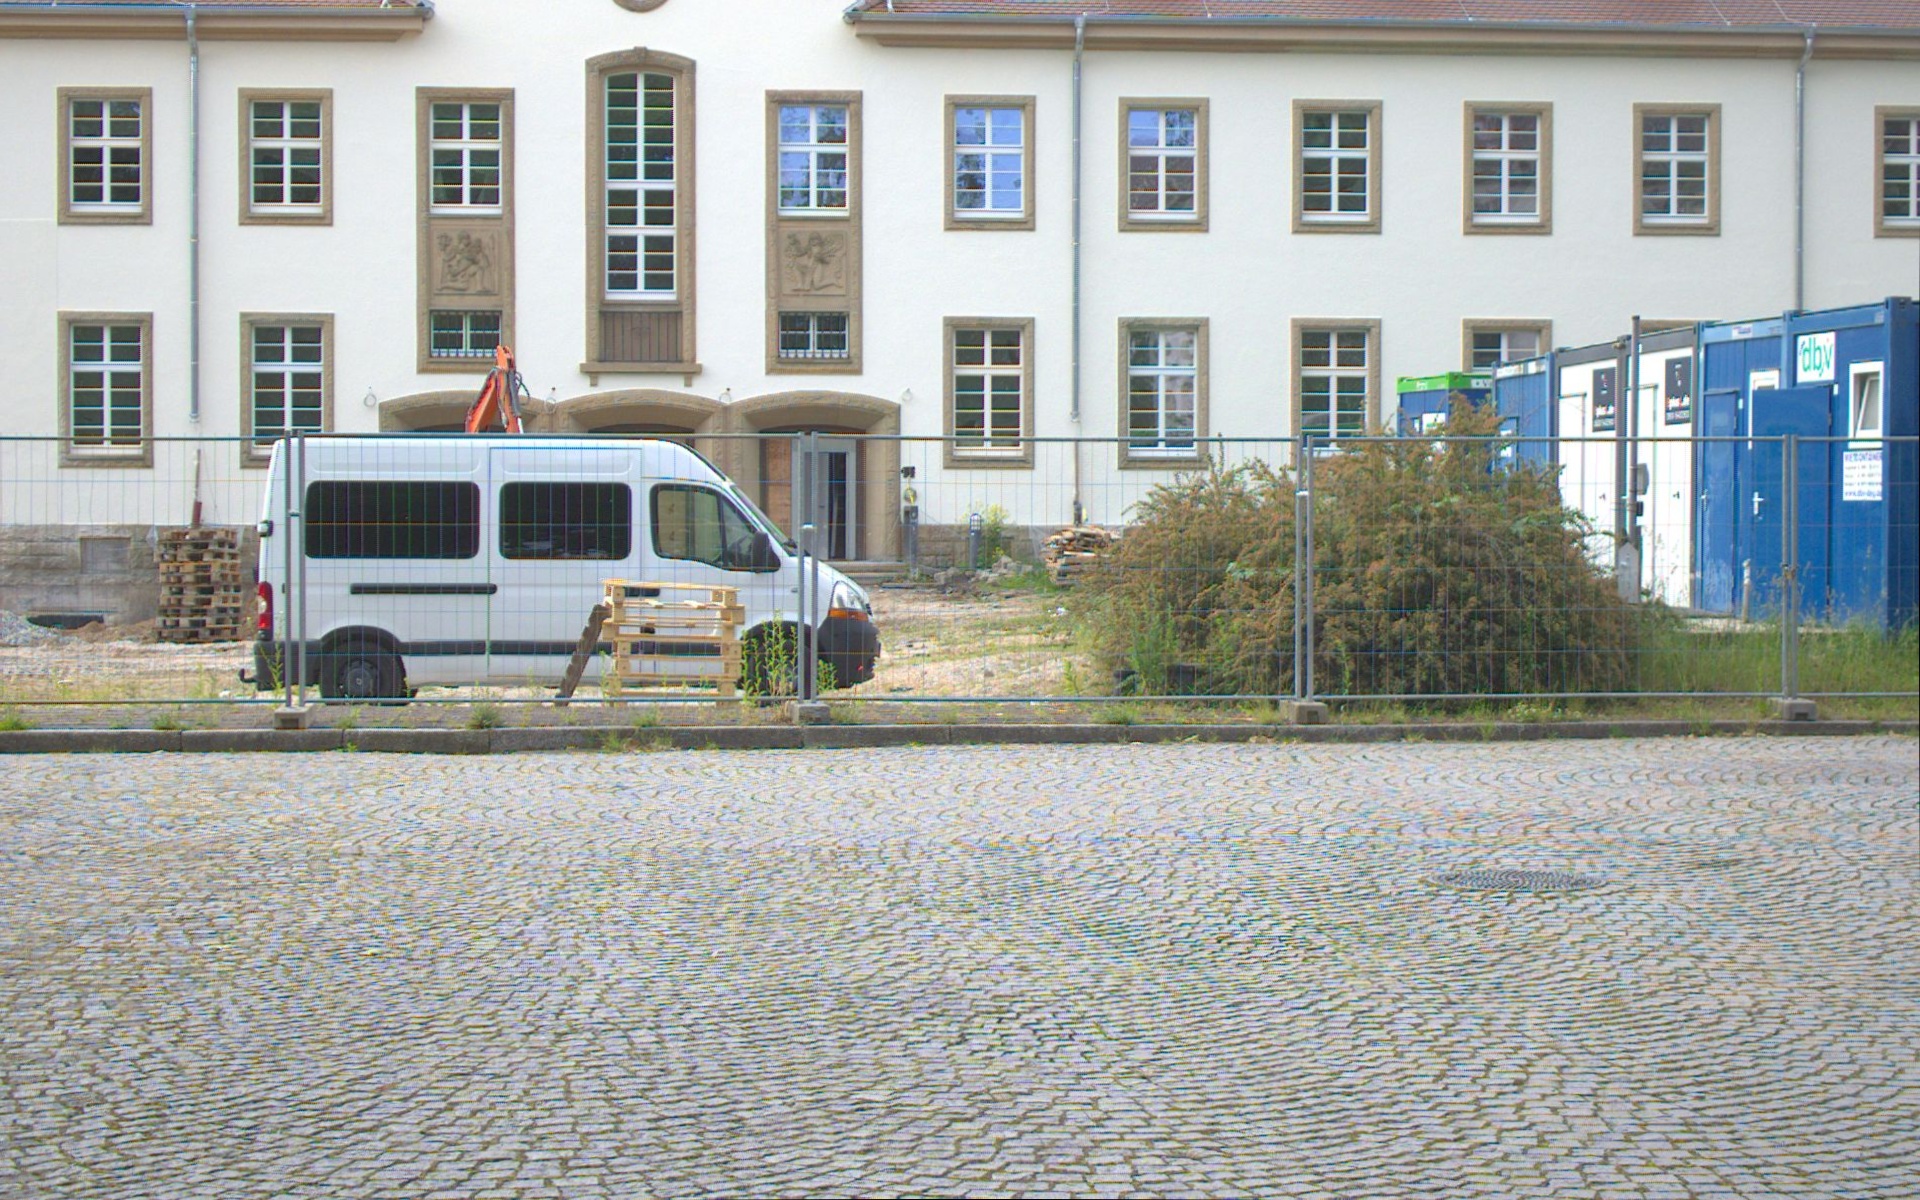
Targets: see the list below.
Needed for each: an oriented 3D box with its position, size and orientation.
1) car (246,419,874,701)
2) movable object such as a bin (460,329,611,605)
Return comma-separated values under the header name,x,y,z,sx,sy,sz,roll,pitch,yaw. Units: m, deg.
name,x,y,z,sx,sy,sz,roll,pitch,yaw
car,-3.418,-0.354,29.973,5.262,2.336,1.910,0,1,-3
movable object such as a bin,-6.201,-1.884,49.777,1.993,3.758,5.319,0,1,-9
